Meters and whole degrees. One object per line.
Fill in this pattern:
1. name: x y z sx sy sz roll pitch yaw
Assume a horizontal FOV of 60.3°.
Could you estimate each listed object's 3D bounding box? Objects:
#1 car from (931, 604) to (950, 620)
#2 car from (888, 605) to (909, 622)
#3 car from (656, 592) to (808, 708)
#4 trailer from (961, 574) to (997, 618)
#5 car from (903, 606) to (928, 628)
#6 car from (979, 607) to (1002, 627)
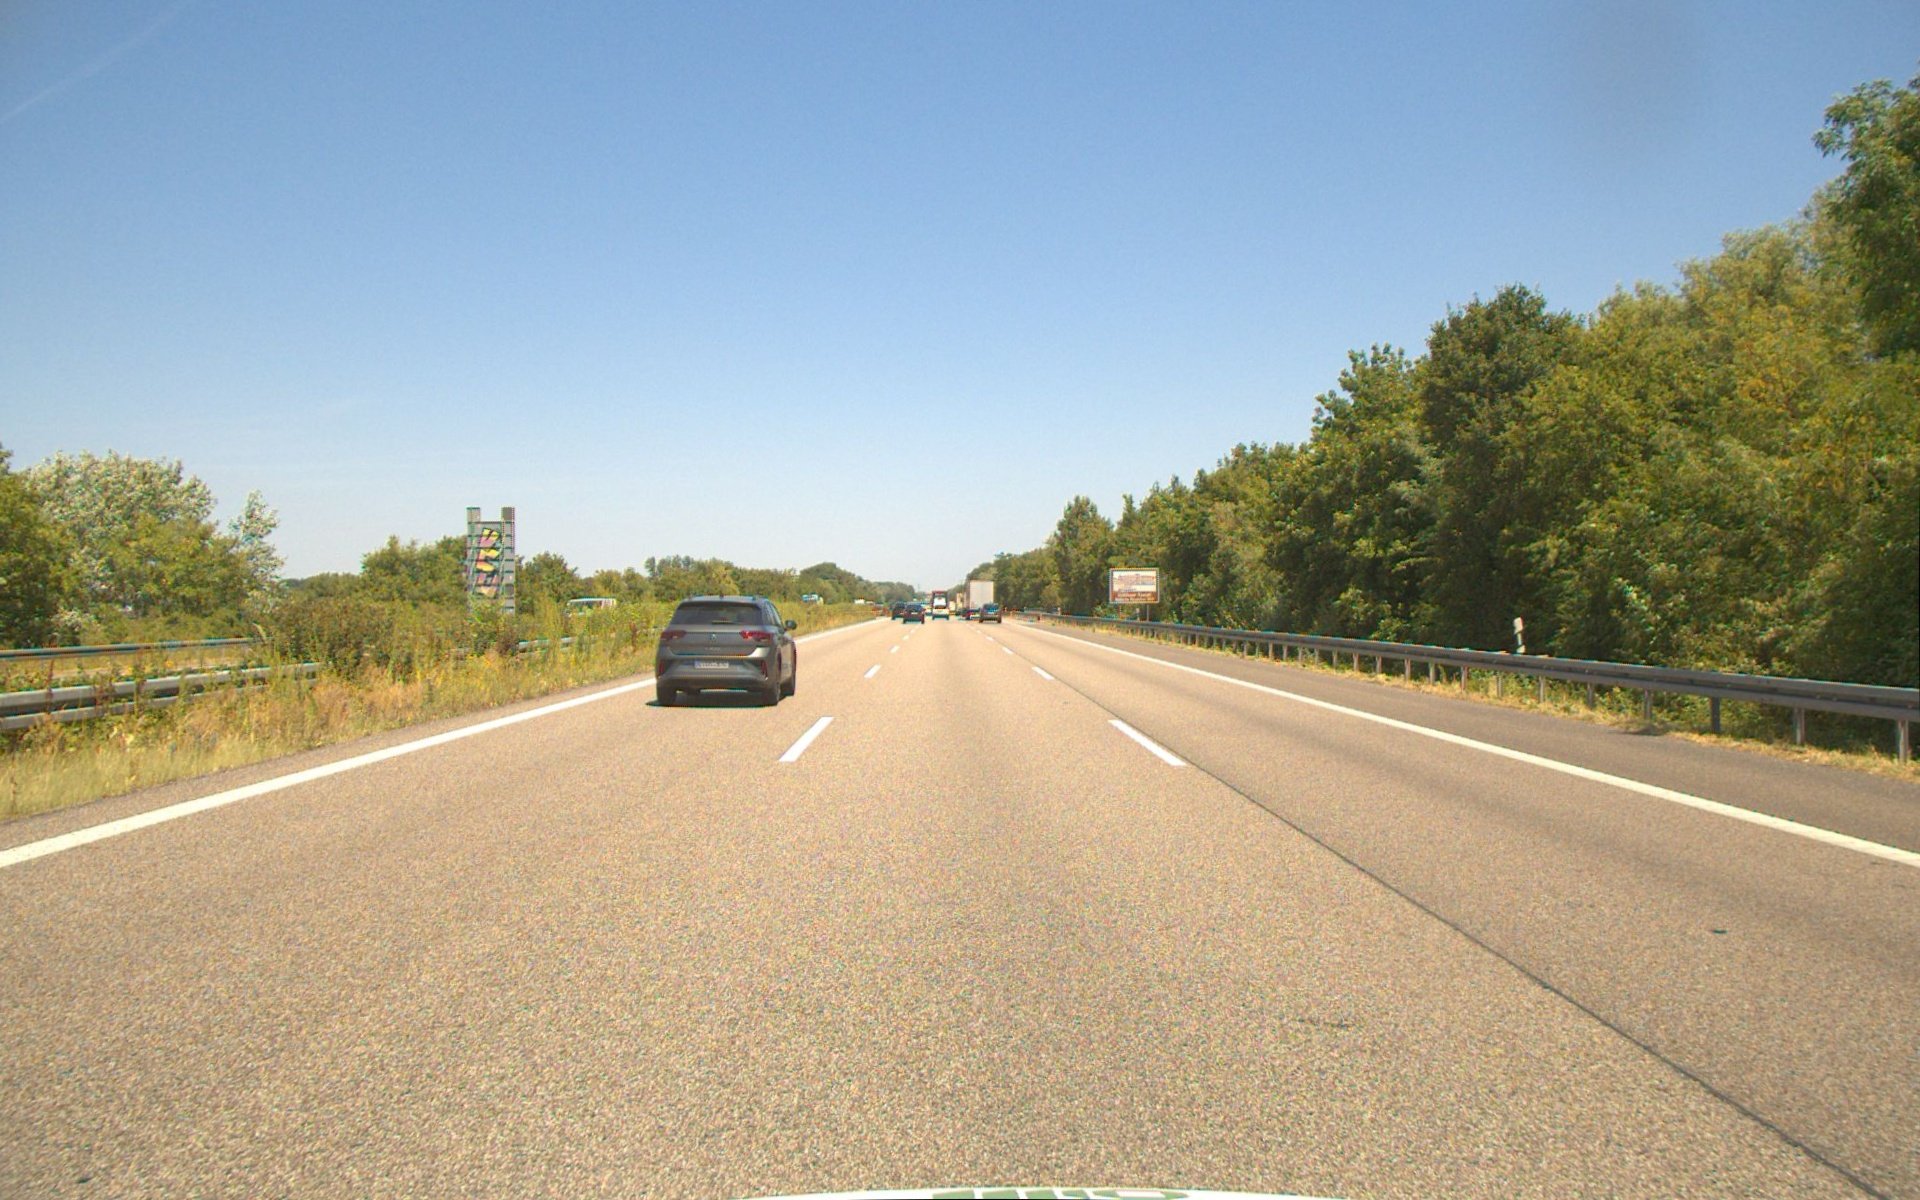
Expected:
1. car: -2.019 1.239 172.022 1.862 1.558 4.083 1 0 -1
2. car: -5.957 1.276 160.954 1.869 1.558 4.284 1 0 -1
3. car: -3.344 0.681 24.959 1.723 1.558 4.284 1 0 -1
4. trailer: 1.893 -0.333 172.083 3.365 4.254 13.629 1 -1 -1
5. car: -3.371 1.302 126.221 1.862 1.558 4.083 1 0 -1
6. car: 2.513 1.431 138.983 1.807 1.657 4.134 0 0 -1
